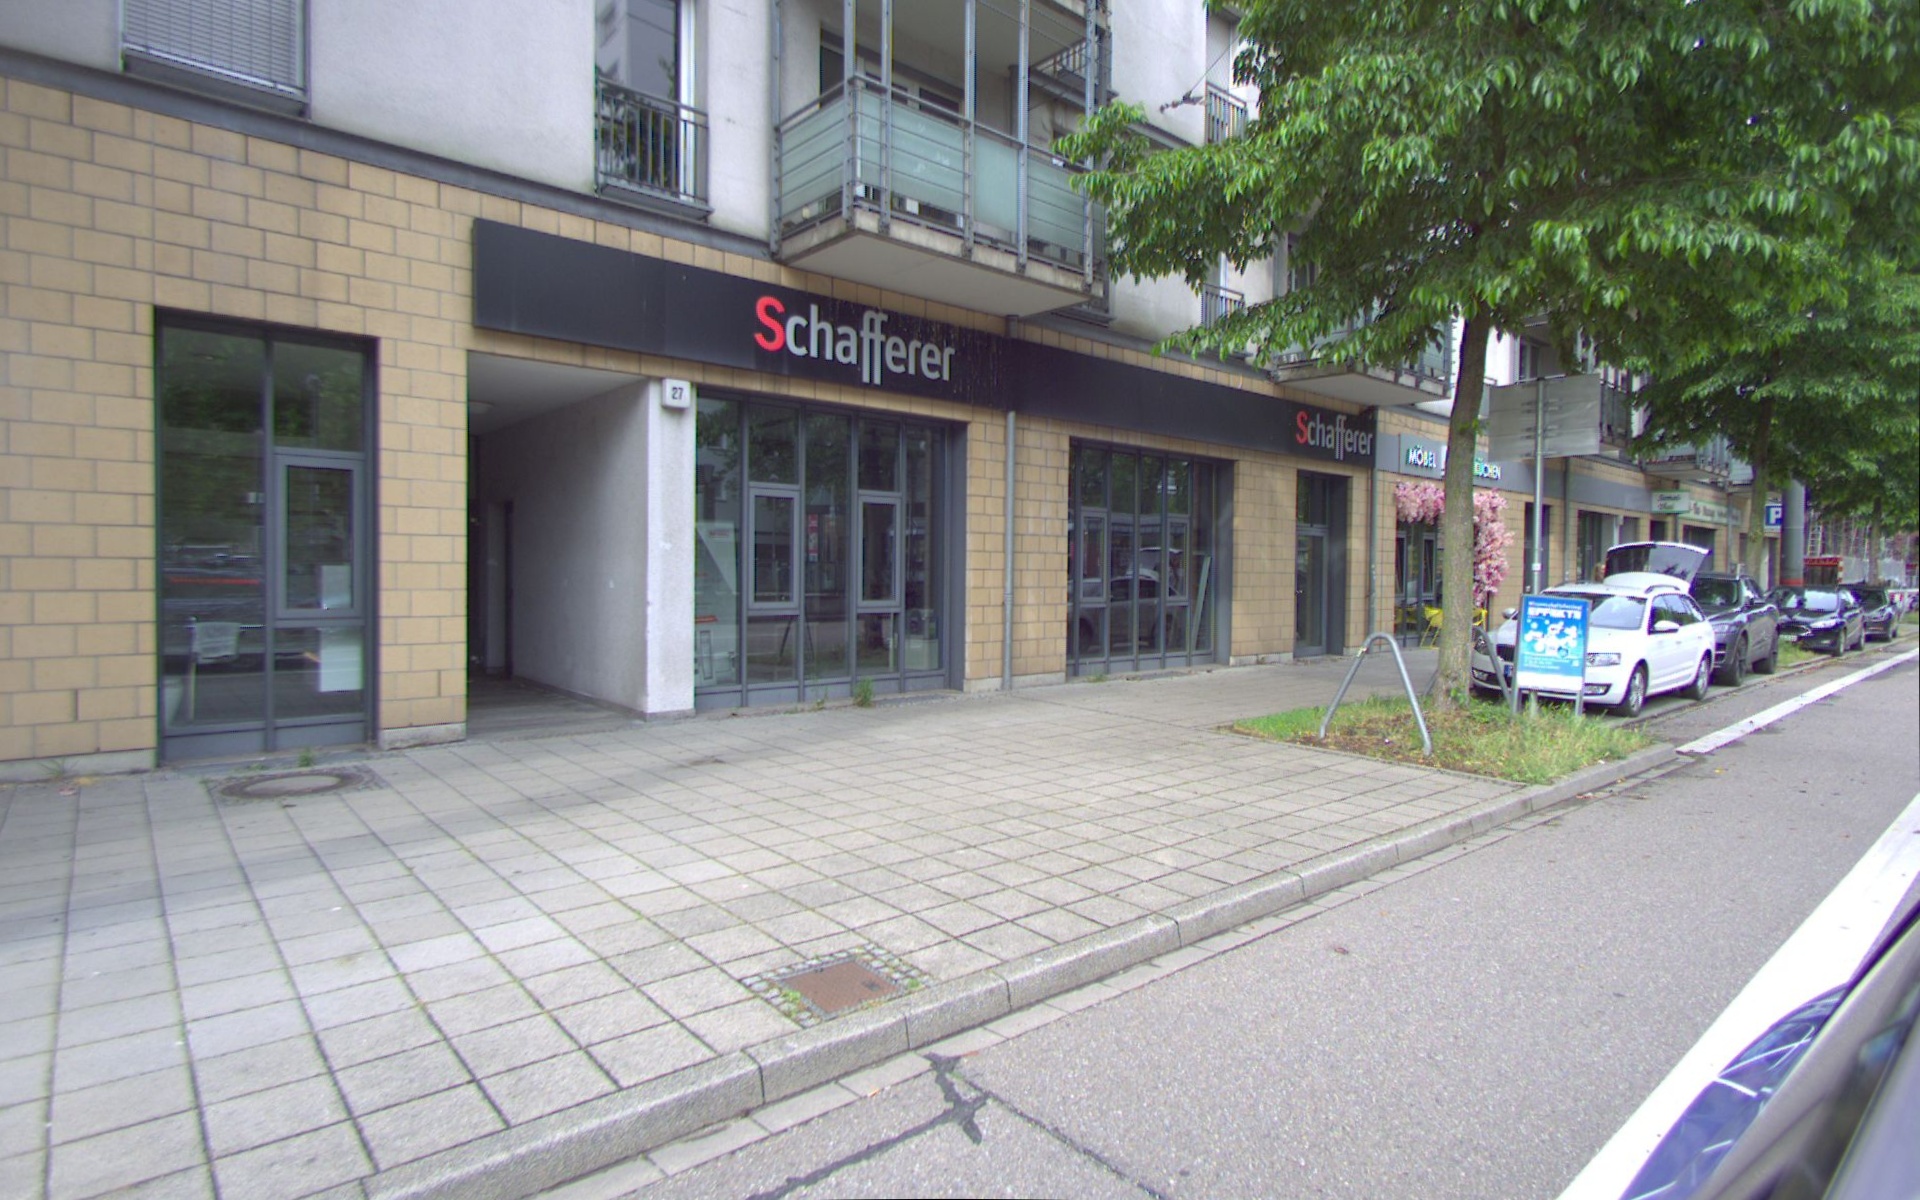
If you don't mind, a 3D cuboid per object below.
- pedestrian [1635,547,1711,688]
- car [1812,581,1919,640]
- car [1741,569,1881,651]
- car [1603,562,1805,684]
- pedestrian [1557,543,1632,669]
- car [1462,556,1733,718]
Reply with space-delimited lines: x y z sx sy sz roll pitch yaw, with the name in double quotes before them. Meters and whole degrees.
"pedestrian" 10.182 0.239 14.458 0.630 1.958 0.655 0 0 -26
"car" 24.246 0.217 26.996 3.749 1.400 1.730 -1 3 -41
"car" 18.526 0.155 21.984 3.874 1.564 1.684 -1 3 -41
"car" 11.888 0.271 16.092 3.874 1.682 1.730 -1 3 -41
"pedestrian" 9.519 0.081 15.189 0.825 1.828 0.744 -1 0 -42
"car" 8.135 0.343 12.783 4.032 1.682 1.730 -1 4 -41
